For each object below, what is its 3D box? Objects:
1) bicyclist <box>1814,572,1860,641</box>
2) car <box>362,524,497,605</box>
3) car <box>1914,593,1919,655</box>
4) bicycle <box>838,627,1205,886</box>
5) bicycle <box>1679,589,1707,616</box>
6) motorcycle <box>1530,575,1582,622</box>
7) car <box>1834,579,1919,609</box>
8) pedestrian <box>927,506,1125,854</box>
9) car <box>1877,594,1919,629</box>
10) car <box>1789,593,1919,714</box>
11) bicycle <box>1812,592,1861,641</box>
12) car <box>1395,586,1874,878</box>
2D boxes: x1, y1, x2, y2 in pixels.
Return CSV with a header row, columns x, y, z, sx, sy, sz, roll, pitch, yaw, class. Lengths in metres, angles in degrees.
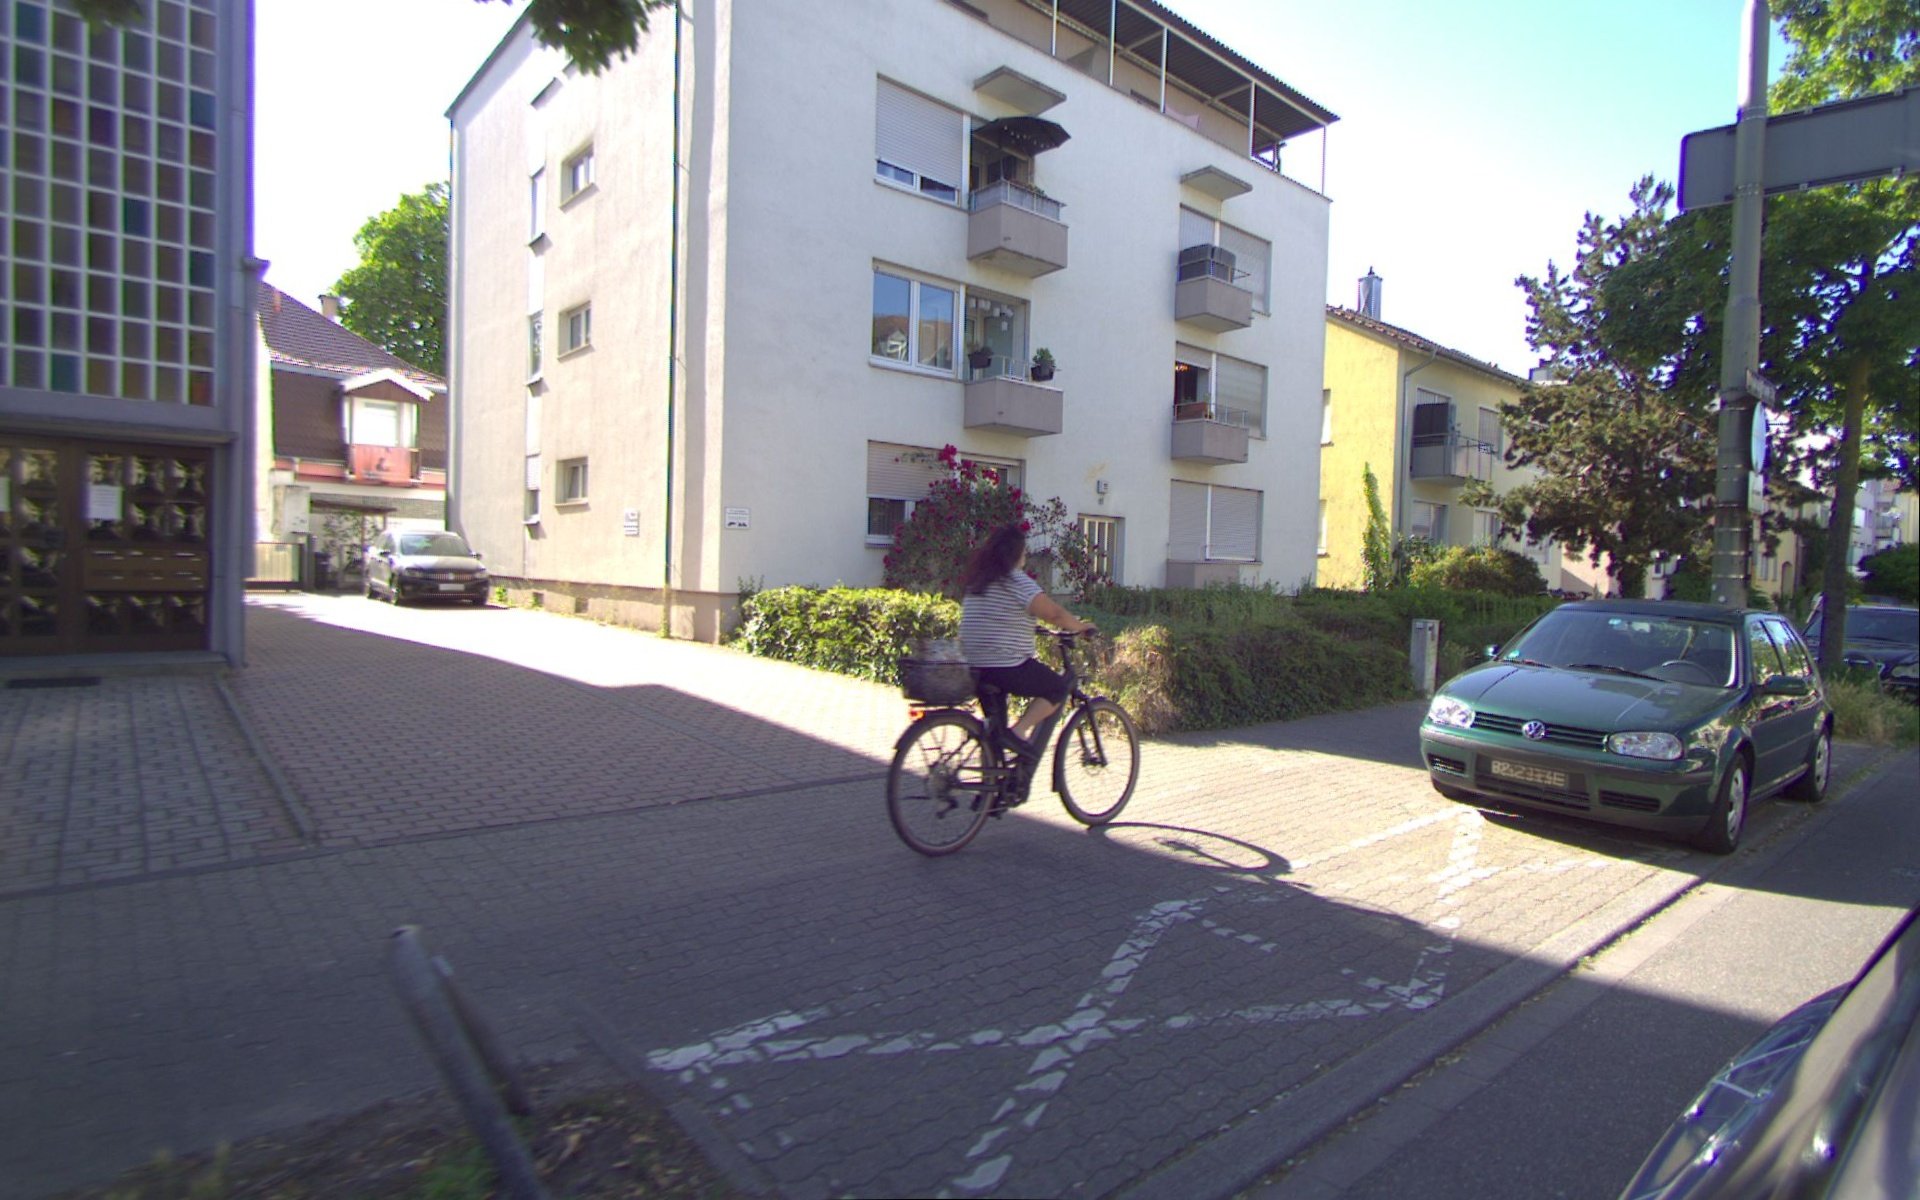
x,y,z,sx,sy,sz,roll,pitch,yaw,class
24.031,0.176,27.730,0.998,1.815,0.725,0,3,-41,bicyclist
-11.322,-0.781,21.466,1.713,1.549,3.996,0,3,-40,car
25.239,0.630,25.235,3.583,1.517,1.624,0,3,-39,car
0.409,0.731,5.506,2.090,1.083,0.683,0,3,-41,bicycle
28.970,0.089,39.976,1.713,1.004,0.456,-1,5,-41,bicycle
18.665,-0.041,31.677,2.383,1.392,0.637,0,3,-41,motorcycle
56.329,-0.371,61.921,1.799,1.458,3.999,0,6,-40,car
0.353,0.377,5.452,0.762,1.703,0.671,0,2,-41,pedestrian
42.293,0.509,45.167,3.653,1.372,1.536,0,5,-41,car
13.261,0.676,14.269,4.375,1.412,1.590,0,4,-40,car
24.009,0.447,27.715,1.790,1.262,0.699,0,3,-41,bicycle
4.948,0.678,7.201,4.073,1.445,1.696,0,3,-40,car
